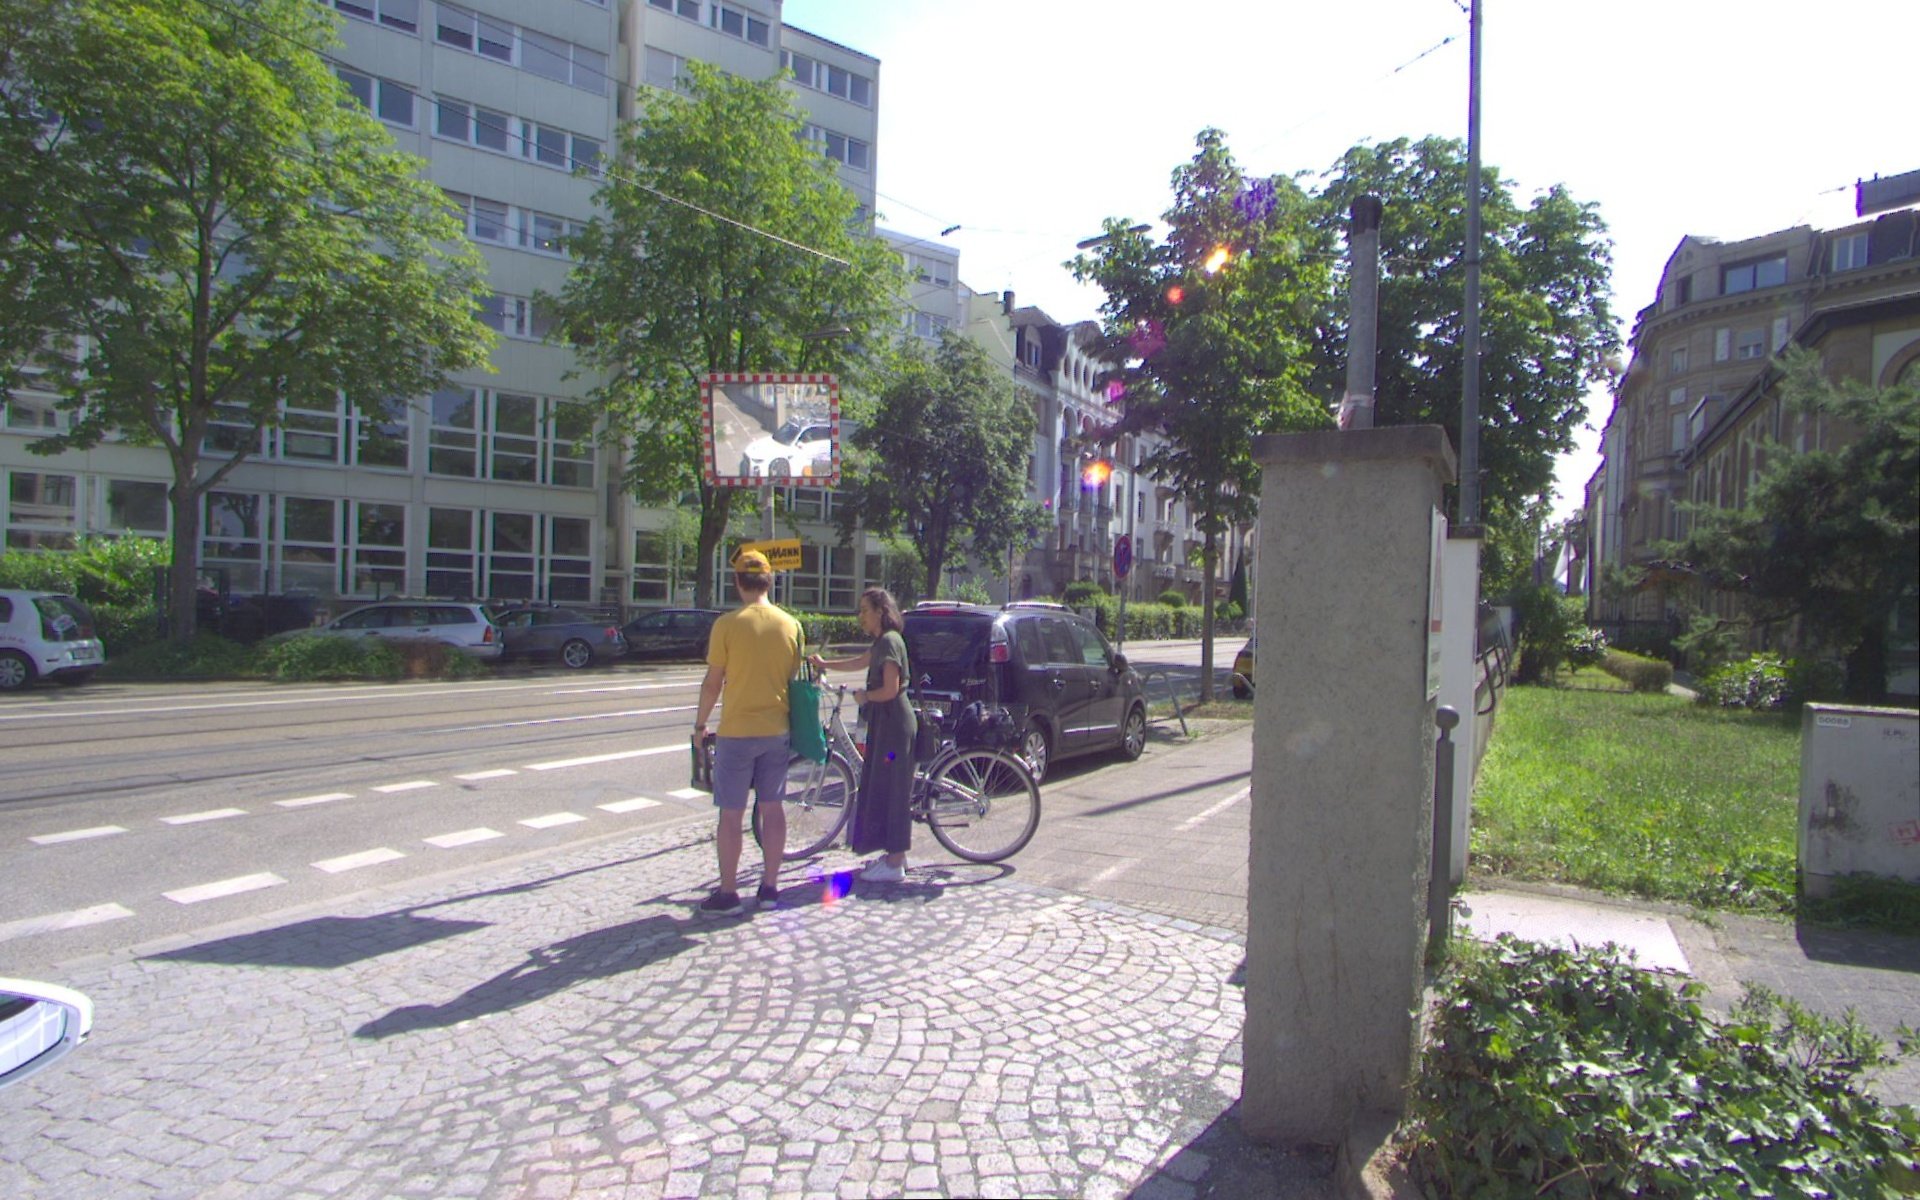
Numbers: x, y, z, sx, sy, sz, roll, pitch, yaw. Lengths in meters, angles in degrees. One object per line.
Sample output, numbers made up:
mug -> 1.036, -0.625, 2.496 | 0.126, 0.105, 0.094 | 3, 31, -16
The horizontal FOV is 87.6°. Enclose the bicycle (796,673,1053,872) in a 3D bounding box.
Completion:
bicycle -> -0.212, 1.008, 6.051 | 1.484, 1.055, 0.363 | 2, 0, 12

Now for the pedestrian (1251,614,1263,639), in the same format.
pedestrian -> 23.750, 2.116, 80.106 | 0.680, 1.958, 0.785 | 2, 0, 28

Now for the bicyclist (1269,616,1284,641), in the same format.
bicyclist -> 23.512, 2.082, 74.363 | 0.793, 1.825, 0.860 | 2, 0, 33

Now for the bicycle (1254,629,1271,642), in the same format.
bicycle -> 22.662, 2.638, 74.983 | 0.670, 0.929, 2.309 | 2, 0, 32

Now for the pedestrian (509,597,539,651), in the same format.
pedestrian -> -12.171, 0.665, 27.959 | 0.417, 1.480, 0.620 | 2, 0, 27

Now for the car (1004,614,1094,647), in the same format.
car -> 4.340, 1.487, 49.199 | 3.929, 1.528, 1.997 | 2, -1, -16

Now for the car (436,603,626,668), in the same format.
car -> -9.931, 0.817, 23.457 | 3.875, 1.375, 1.556 | 2, 0, -16

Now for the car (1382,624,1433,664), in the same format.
car -> 20.853, 2.012, 46.621 | 1.828, 1.702, 3.984 | 1, -1, 28

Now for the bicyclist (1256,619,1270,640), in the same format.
bicyclist -> 22.684, 2.233, 75.024 | 0.793, 1.563, 0.860 | 2, 0, 33

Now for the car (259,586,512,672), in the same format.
car -> -11.725, 0.626, 20.744 | 4.270, 1.625, 1.555 | 2, -1, -19

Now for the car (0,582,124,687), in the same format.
car -> -15.149, 0.482, 14.852 | 3.874, 1.505, 1.610 | 1, 0, -15

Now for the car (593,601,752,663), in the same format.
car -> -7.548, 0.845, 26.449 | 3.875, 1.505, 1.556 | 2, 0, -16

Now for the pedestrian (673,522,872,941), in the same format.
pedestrian -> -0.968, 0.606, 5.025 | 0.839, 1.889, 0.828 | 2, 0, -18

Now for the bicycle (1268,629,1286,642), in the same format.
bicycle -> 23.574, 2.639, 74.374 | 0.670, 0.929, 2.309 | 2, 0, 32

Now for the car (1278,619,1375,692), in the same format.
car -> 9.726, 1.405, 26.417 | 1.828, 1.702, 3.984 | 1, -1, 28

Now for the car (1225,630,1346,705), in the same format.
car -> 7.242, 1.401, 22.025 | 1.828, 1.430, 3.984 | 1, -1, 28

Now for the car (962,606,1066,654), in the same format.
car -> 2.297, 1.274, 42.540 | 3.935, 1.884, 1.993 | 2, 0, -23

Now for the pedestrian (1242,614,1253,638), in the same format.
pedestrian -> 23.088, 2.096, 80.428 | 0.680, 1.958, 0.785 | 2, 0, 28

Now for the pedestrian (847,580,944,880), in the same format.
pedestrian -> -0.365, 0.720, 5.744 | 0.445, 1.642, 0.422 | -1, -1, 12

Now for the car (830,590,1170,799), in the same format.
car -> 0.625, 0.826, 10.425 | 1.829, 1.706, 3.981 | 1, -1, 31
